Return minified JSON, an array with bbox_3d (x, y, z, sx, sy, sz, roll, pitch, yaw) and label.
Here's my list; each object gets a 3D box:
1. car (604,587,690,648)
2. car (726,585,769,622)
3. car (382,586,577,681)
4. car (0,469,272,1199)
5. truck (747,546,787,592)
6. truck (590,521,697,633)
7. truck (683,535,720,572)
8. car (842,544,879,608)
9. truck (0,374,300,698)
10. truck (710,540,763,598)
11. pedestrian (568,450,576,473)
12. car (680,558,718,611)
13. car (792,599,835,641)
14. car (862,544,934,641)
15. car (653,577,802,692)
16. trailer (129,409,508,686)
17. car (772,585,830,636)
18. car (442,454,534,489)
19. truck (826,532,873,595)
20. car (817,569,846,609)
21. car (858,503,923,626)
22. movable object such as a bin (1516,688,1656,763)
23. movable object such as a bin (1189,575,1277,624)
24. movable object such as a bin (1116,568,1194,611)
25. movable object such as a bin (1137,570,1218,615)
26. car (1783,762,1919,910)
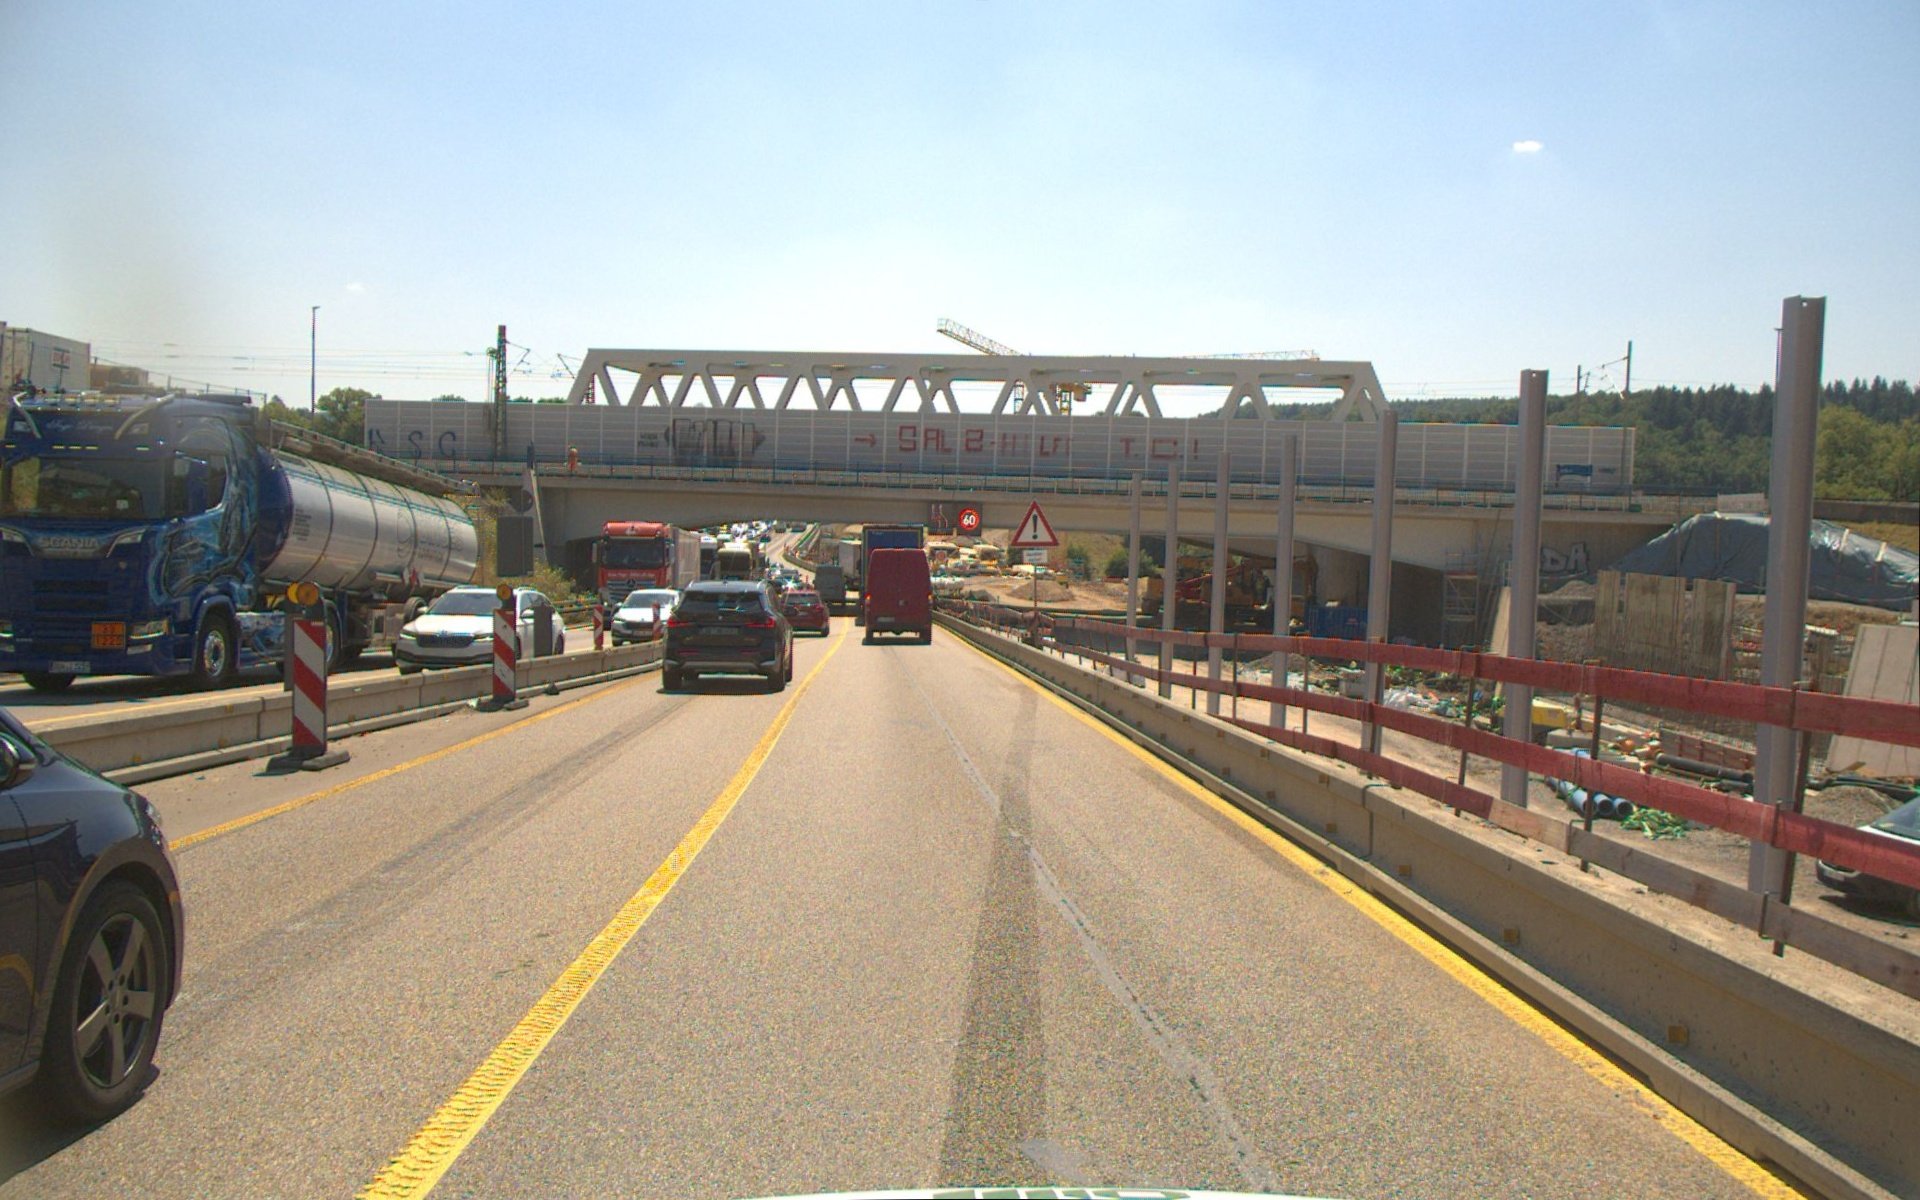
[{"bbox_3d":[-8.117,0.415,43.210,1.797,1.471,4.151,1,1,-5],"label":"car"},{"bbox_3d":[-8.788,0.132,68.603,1.549,1.471,3.661,1,1,-5],"label":"car"},{"bbox_3d":[-7.892,0.494,27.637,1.780,1.408,4.585,1,1,2],"label":"car"},{"bbox_3d":[-3.086,0.580,3.099,1.740,1.748,4.652,1,2,-1],"label":"car"},{"bbox_3d":[-17.290,-2.759,147.538,2.783,3.919,12.882,1,1,-10],"label":"truck"},{"bbox_3d":[-12.254,-0.906,65.143,2.779,3.919,12.899,1,1,-5],"label":"truck"},{"bbox_3d":[-28.785,-5.080,183.864,2.787,3.919,12.864,1,1,-14],"label":"truck"},{"bbox_3d":[-6.827,-1.616,112.805,2.402,4.233,6.855,0,1,-4],"label":"car"},{"bbox_3d":[-11.184,-0.837,23.034,2.309,4.085,4.001,1,1,1],"label":"truck"},{"bbox_3d":[-15.895,-2.183,118.392,2.779,3.919,12.902,1,1,-4],"label":"truck"},{"bbox_3d":[-21.037,-7.497,89.653,0.329,1.232,0.308,1,0,9],"label":"pedestrian"},{"bbox_3d":[-13.885,-0.823,88.142,1.549,2.700,5.387,1,1,-4],"label":"car"},{"bbox_3d":[-6.246,0.834,70.734,1.803,1.683,4.161,0,1,-5],"label":"car"},{"bbox_3d":[-1.880,-0.243,48.771,1.949,2.737,4.620,0,1,-4],"label":"car"},{"bbox_3d":[-3.547,0.466,25.981,1.842,1.646,4.498,0,1,-2],"label":"car"},{"bbox_3d":[-11.080,-0.855,30.256,2.299,4.085,11.451,1,1,1],"label":"trailer"},{"bbox_3d":[-5.113,0.311,53.644,1.741,1.543,4.203,0,1,-4],"label":"car"},{"bbox_3d":[-26.189,-7.114,91.854,4.456,1.814,1.962,1,1,9],"label":"car"},{"bbox_3d":[-10.311,-3.319,152.449,2.784,5.492,12.880,1,1,-11],"label":"truck"},{"bbox_3d":[-8.048,-0.699,103.802,1.741,2.483,4.203,0,1,-4],"label":"car"},{"bbox_3d":[-3.203,-1.544,73.925,2.569,5.120,10.388,0,1,-4],"label":"car"},{"bbox_3d":[15.722,3.120,41.571,3.041,1.590,1.549,1,1,32],"label":"movable object such as a bin"},{"bbox_3d":[16.652,-0.044,100.966,5.040,2.856,2.143,1,0,1],"label":"movable object such as a bin"},{"bbox_3d":[13.224,-0.708,112.377,5.040,2.856,2.143,1,0,1],"label":"movable object such as a bin"},{"bbox_3d":[14.178,-0.487,108.049,5.040,2.856,2.143,1,0,1],"label":"movable object such as a bin"},{"bbox_3d":[15.126,3.556,24.702,4.633,1.804,2.000,2,2,-3],"label":"car"}]
